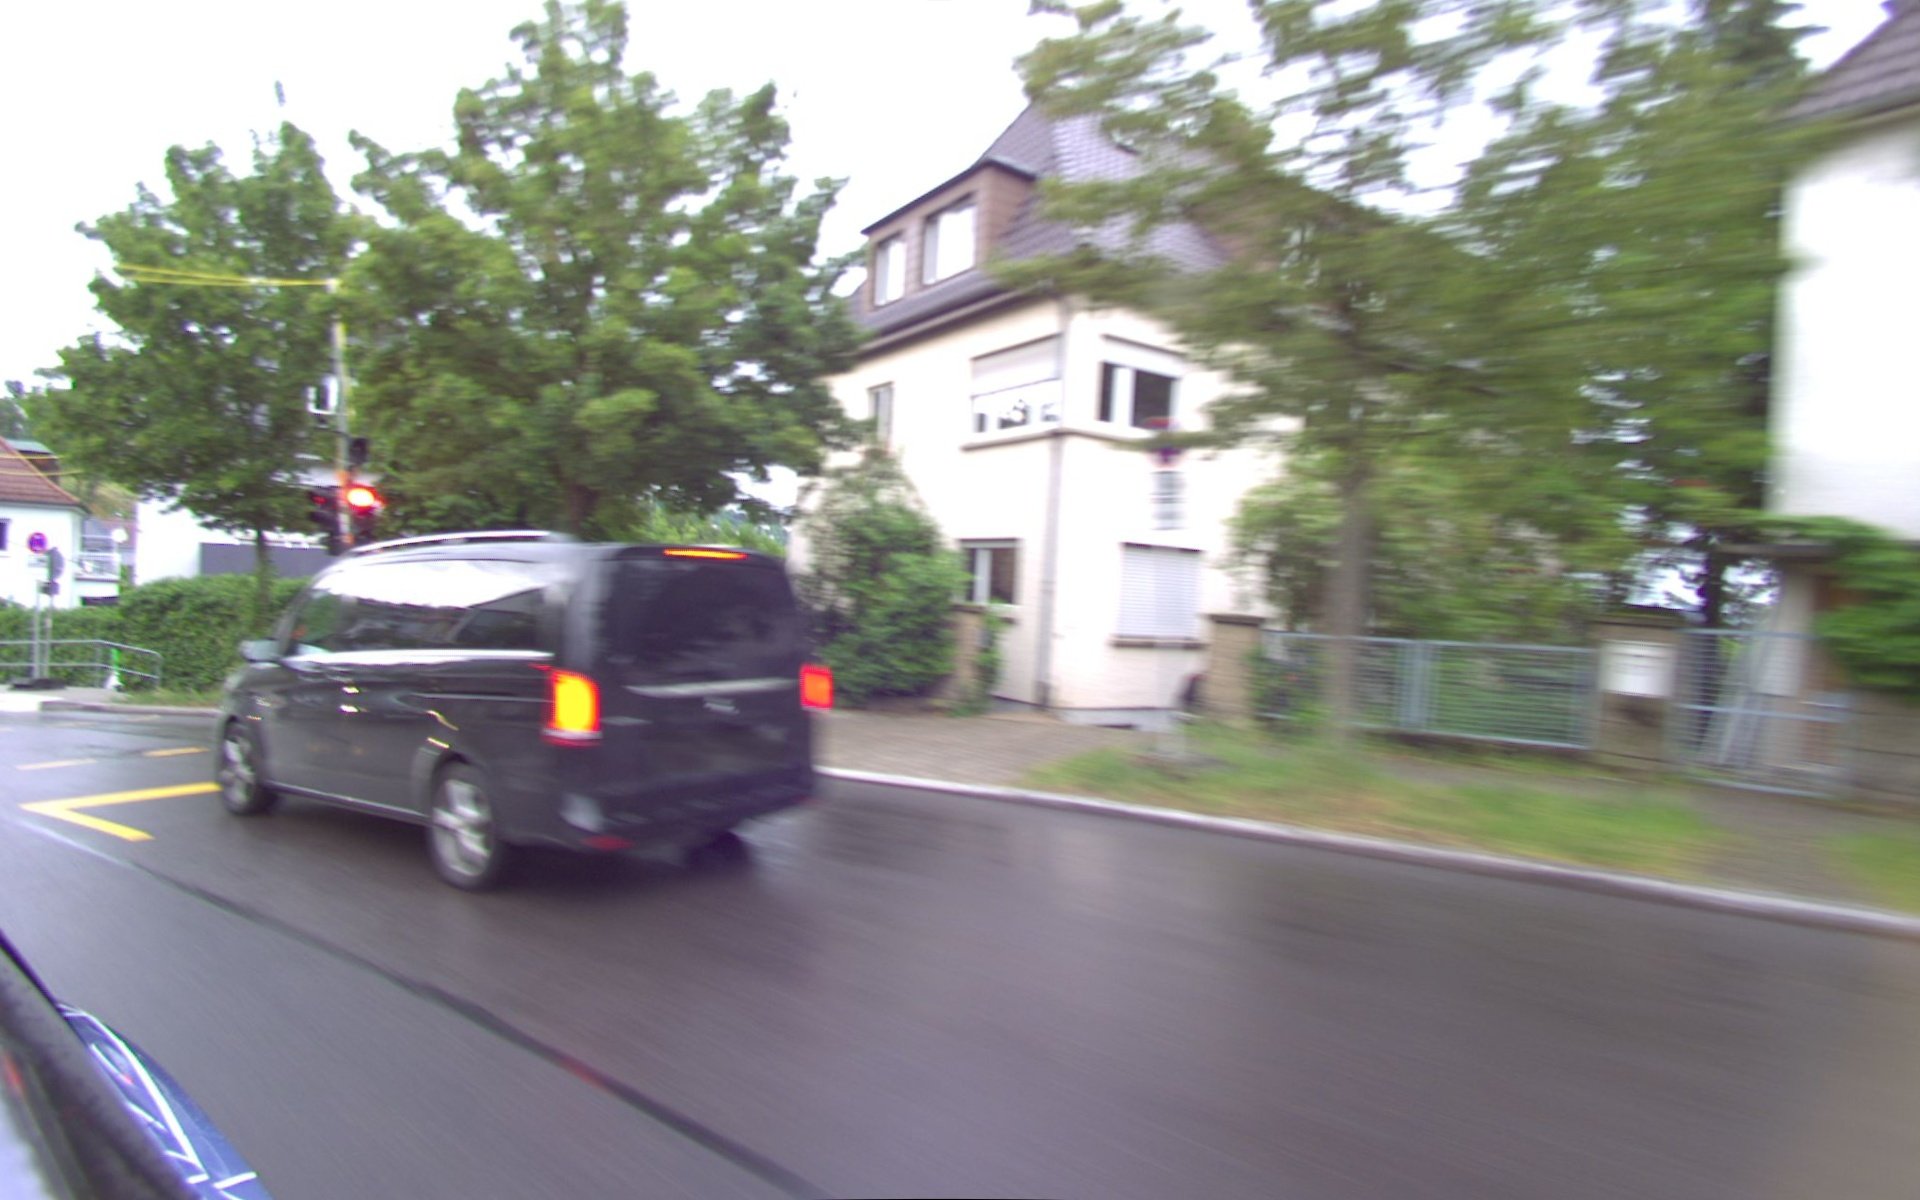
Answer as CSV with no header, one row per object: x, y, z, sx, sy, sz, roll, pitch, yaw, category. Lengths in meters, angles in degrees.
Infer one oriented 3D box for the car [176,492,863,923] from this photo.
-3.208,0.533,6.790,5.143,1.904,1.879,-1,-3,37,car

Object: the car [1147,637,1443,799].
4.979,1.752,14.936,3.936,1.595,1.861,15,-8,-29,car

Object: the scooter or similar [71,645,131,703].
-16.738,1.433,19.718,1.086,1.089,0.323,-1,-4,18,scooter or similar
